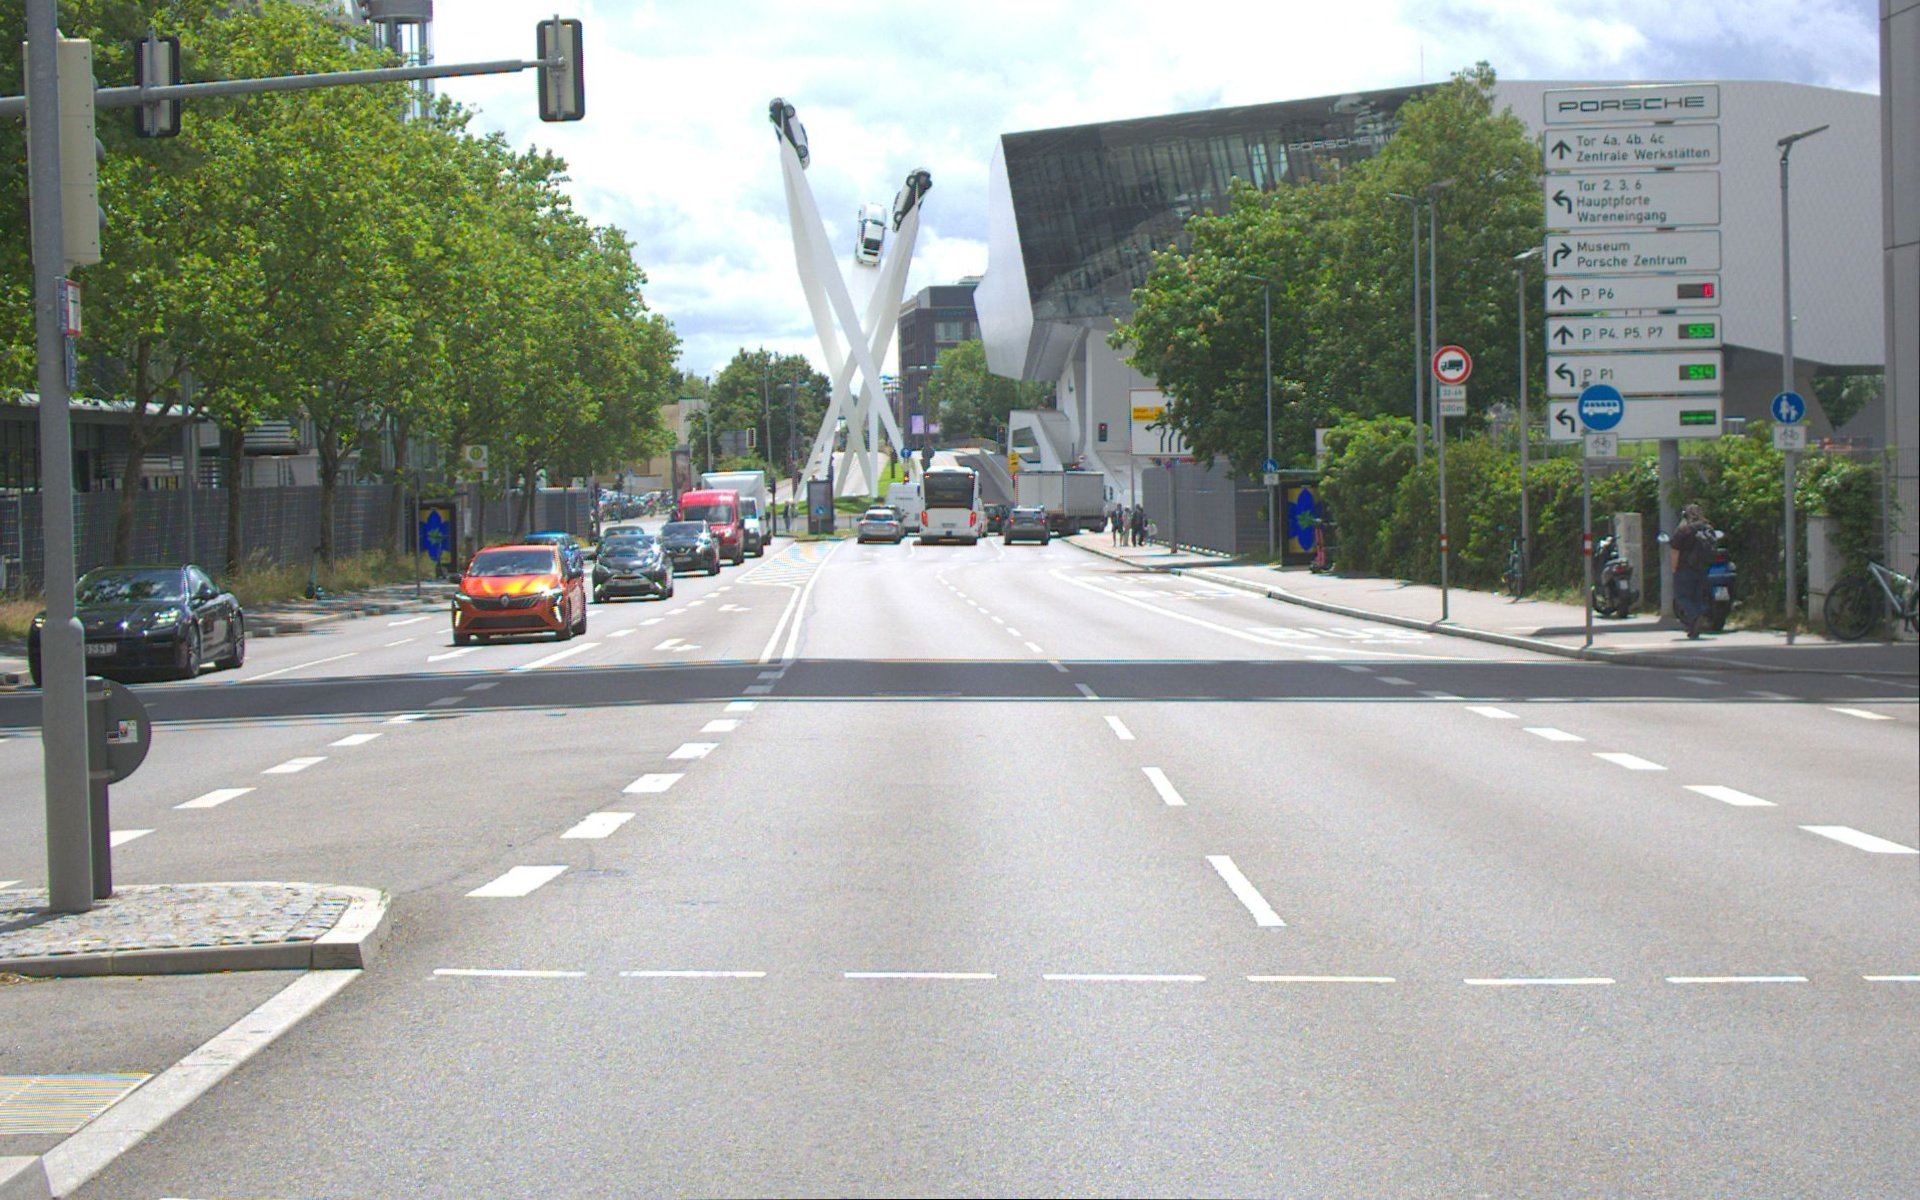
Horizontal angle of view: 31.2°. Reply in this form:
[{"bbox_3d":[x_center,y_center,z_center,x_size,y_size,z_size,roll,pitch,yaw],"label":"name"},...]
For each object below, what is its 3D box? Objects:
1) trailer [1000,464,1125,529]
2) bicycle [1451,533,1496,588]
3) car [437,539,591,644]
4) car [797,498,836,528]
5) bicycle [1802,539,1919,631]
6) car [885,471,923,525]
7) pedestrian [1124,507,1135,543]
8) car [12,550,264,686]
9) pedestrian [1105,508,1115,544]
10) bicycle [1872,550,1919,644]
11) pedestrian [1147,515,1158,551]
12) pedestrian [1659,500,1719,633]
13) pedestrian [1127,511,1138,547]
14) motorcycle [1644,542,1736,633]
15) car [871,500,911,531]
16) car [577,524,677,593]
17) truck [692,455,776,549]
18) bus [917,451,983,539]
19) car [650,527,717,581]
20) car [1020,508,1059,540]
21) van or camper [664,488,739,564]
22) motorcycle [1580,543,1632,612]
[{"bbox_3d":[5.220,-5.119,172.099,3.322,2.984,10.366,1,1,19],"label":"trailer"},{"bbox_3d":[9.742,-0.743,65.276,0.418,1.019,1.913,1,1,-5],"label":"bicycle"},{"bbox_3d":[-6.668,-0.156,51.748,1.769,1.415,3.701,-3,1,0],"label":"car"},{"bbox_3d":[-6.493,-3.954,155.690,1.557,1.269,3.701,-3,1,0],"label":"car"},{"bbox_3d":[11.173,-0.177,40.881,2.222,1.083,0.476,1,1,35],"label":"bicycle"},{"bbox_3d":[-2.801,-5.062,171.075,1.843,2.614,4.000,1,1,-1],"label":"car"},{"bbox_3d":[6.726,-2.962,136.347,0.386,1.416,0.423,1,0,0],"label":"pedestrian"},{"bbox_3d":[-10.183,0.175,42.957,1.917,1.483,4.772,-3,1,0],"label":"car"},{"bbox_3d":[5.986,-2.957,137.114,0.386,1.416,0.423,1,0,0],"label":"pedestrian"},{"bbox_3d":[11.664,-0.020,39.551,2.222,1.083,0.476,1,1,35],"label":"bicycle"},{"bbox_3d":[7.502,-2.611,134.303,0.386,1.416,0.423,1,0,0],"label":"pedestrian"},{"bbox_3d":[9.083,-0.418,42.837,0.533,1.635,0.658,1,0,-6],"label":"pedestrian"},{"bbox_3d":[6.723,-2.777,134.125,0.386,1.416,0.423,1,0,0],"label":"pedestrian"},{"bbox_3d":[9.549,-0.166,45.035,0.418,1.162,1.957,1,1,-11],"label":"motorcycle"},{"bbox_3d":[-2.967,-3.661,148.525,1.557,1.269,3.701,-3,1,1],"label":"car"},{"bbox_3d":[-7.346,-0.930,76.071,1.769,1.415,3.701,-3,1,0],"label":"car"},{"bbox_3d":[-8.298,-3.566,126.873,2.591,3.312,7.079,1,1,0],"label":"truck"},{"bbox_3d":[-0.425,-4.552,150.224,2.787,3.673,6.943,1,1,0],"label":"bus"},{"bbox_3d":[-7.973,-1.335,99.294,1.557,1.443,3.773,-3,1,0],"label":"car"},{"bbox_3d":[3.362,-3.250,146.152,1.557,1.269,3.701,-3,1,1],"label":"car"},{"bbox_3d":[-8.524,-2.451,113.970,2.047,2.458,5.595,0,1,0],"label":"van or camper"},{"bbox_3d":[9.769,-0.345,52.018,0.457,1.019,1.912,1,1,1],"label":"motorcycle"}]
